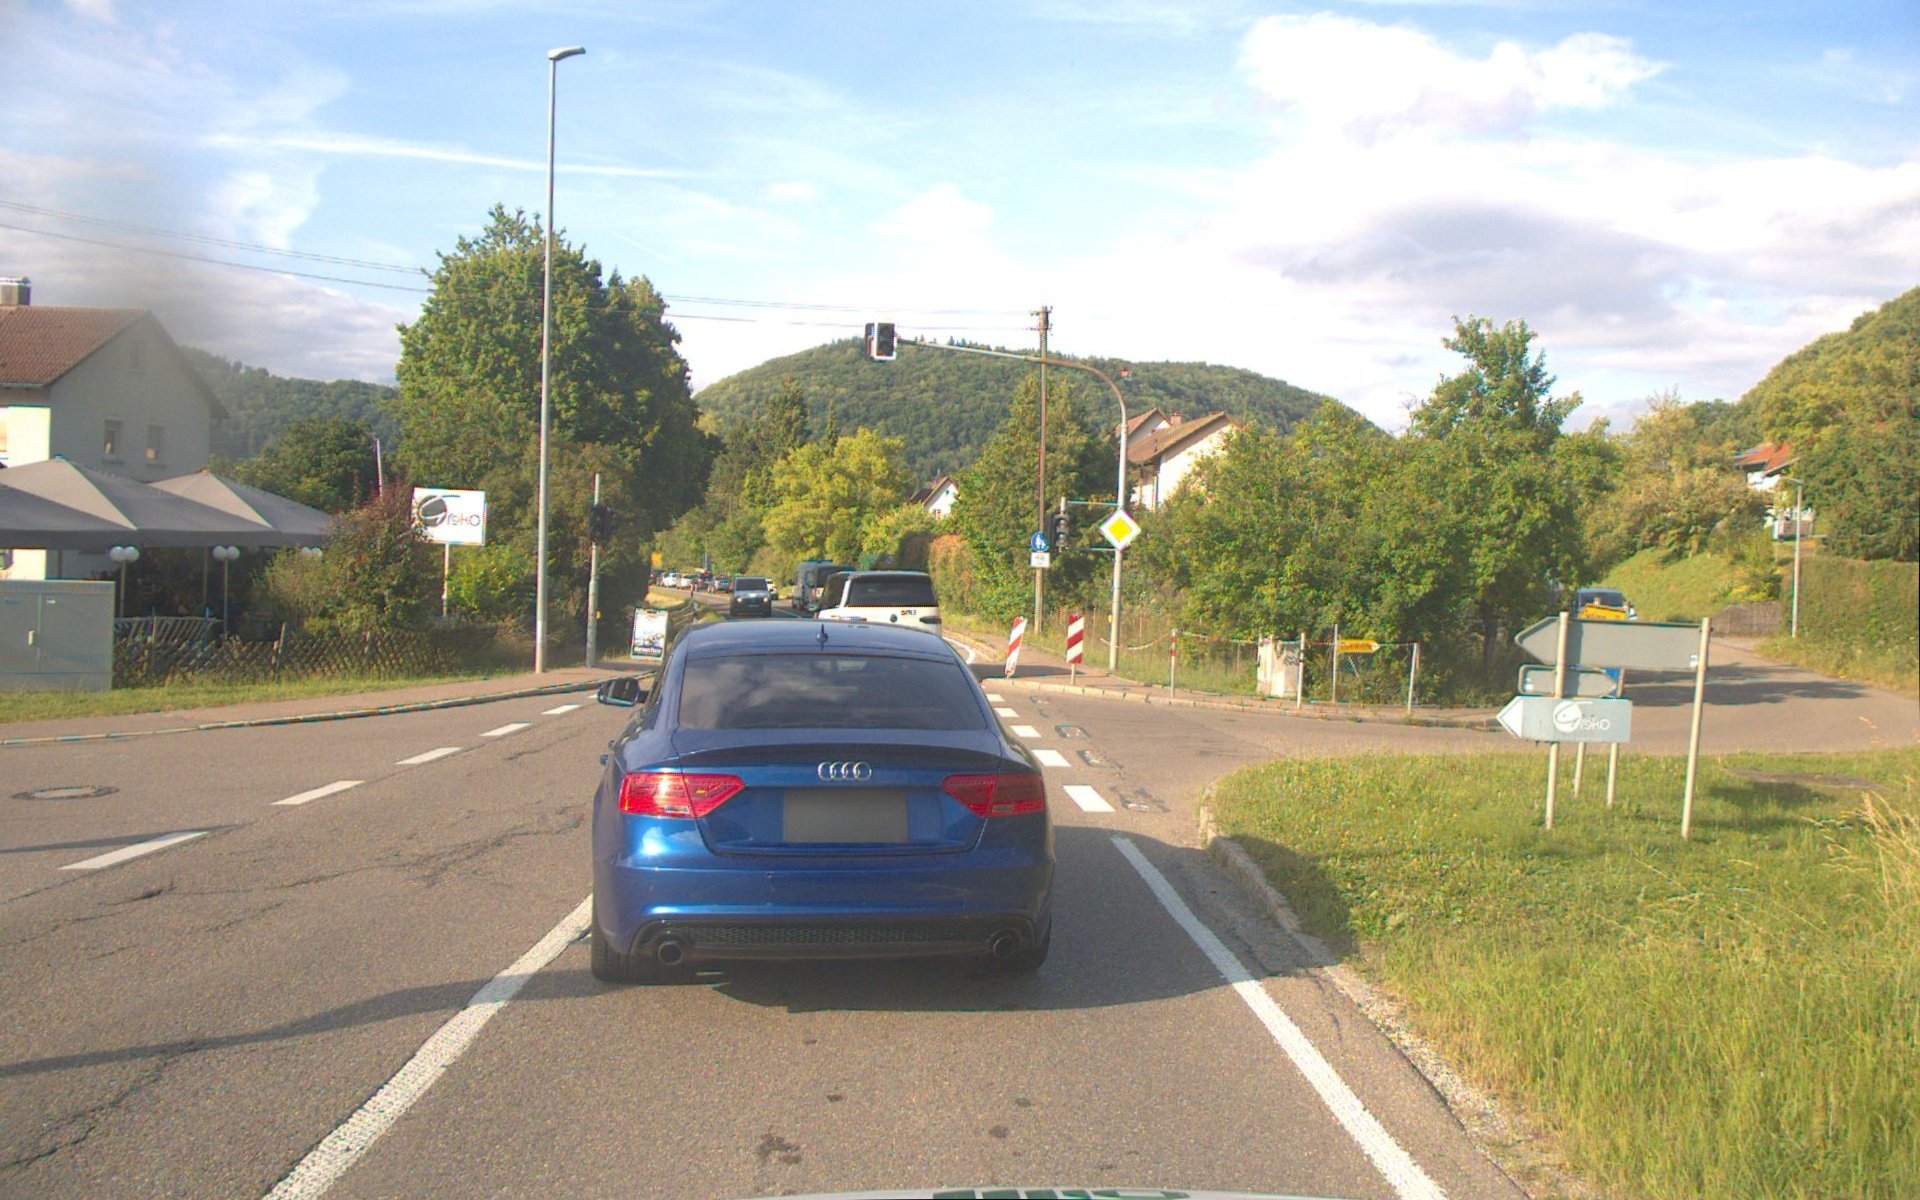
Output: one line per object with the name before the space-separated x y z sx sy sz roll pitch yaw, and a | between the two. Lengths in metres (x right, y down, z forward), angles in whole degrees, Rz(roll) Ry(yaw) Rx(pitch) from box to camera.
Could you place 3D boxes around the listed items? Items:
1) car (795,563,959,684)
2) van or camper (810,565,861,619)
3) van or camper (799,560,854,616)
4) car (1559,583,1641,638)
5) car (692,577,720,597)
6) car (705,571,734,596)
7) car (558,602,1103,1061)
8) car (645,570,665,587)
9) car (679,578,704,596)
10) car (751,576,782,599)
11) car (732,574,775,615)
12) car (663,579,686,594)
car | -1.608 0.343 29.967 1.960 1.909 4.853 2 1 -15
van or camper | -5.827 -0.408 77.095 2.138 2.427 5.362 0 1 -7
van or camper | -7.381 -0.700 91.009 2.372 2.955 6.115 0 1 -11
car | 20.590 0.303 53.354 1.828 1.638 4.576 2 1 13
car | -22.704 -1.137 147.515 2.007 1.713 3.983 1 1 -16
car | -20.201 -1.437 138.817 1.960 2.049 3.985 0 1 -15
car | -0.715 0.749 7.558 1.796 1.433 4.218 0 0 -9
car | -32.674 -2.255 177.201 1.743 1.814 3.983 0 1 -16
car | -25.308 -1.215 156.017 1.910 1.713 3.983 0 0 -16
car | -13.519 -0.888 115.373 1.788 1.579 3.988 0 1 -12
car | -10.206 -0.310 81.542 1.956 1.937 5.243 -1 1 -8
car | -28.436 -1.391 164.814 1.910 1.449 3.983 0 1 -16
